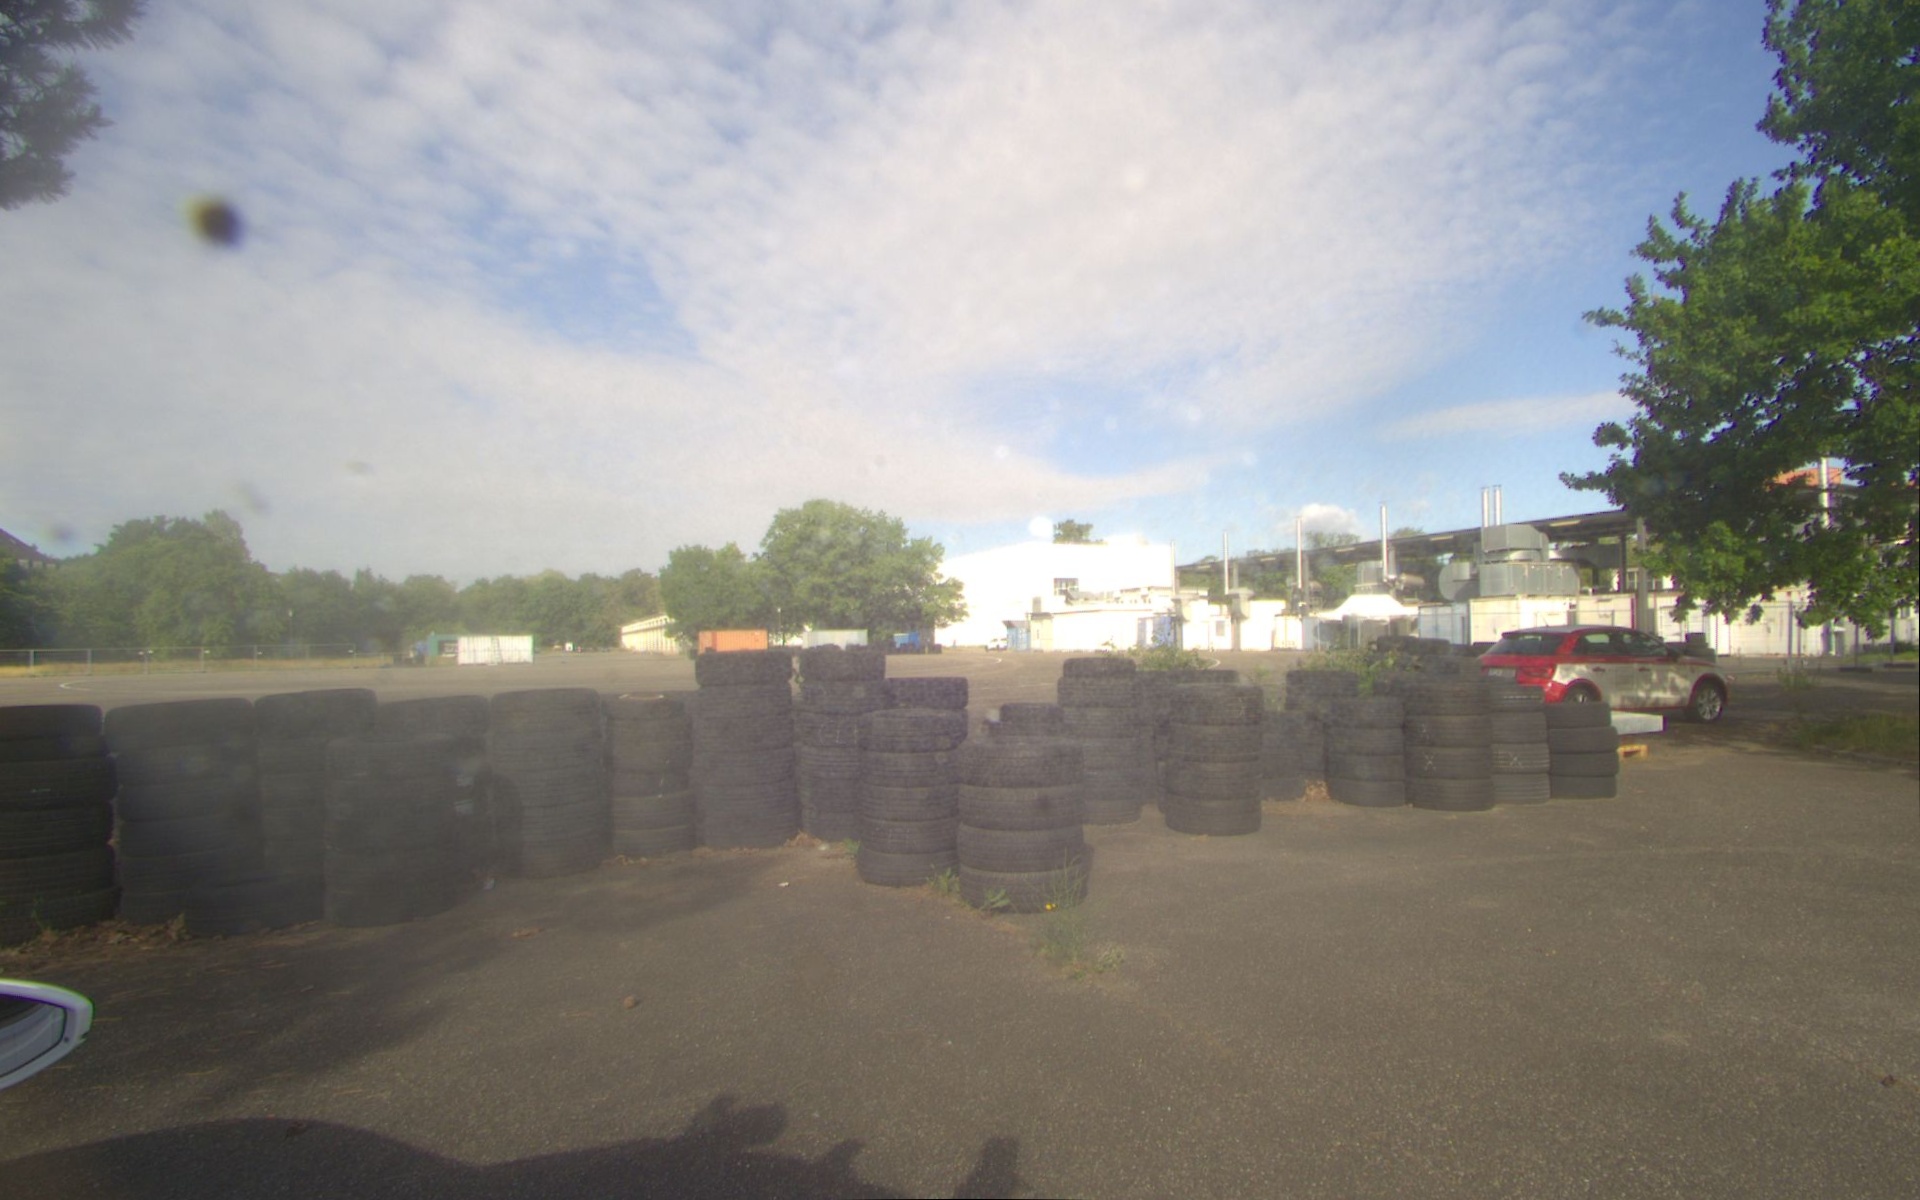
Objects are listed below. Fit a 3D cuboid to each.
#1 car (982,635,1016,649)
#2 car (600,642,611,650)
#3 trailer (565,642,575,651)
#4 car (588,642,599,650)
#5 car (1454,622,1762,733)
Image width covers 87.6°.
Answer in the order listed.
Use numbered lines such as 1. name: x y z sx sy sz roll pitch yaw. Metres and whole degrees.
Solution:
1. car: 4.256 4.632 110.468 1.845 1.584 4.533 0 -2 -25
2. car: -82.019 10.540 231.427 1.969 1.772 3.986 0 -2 -25
3. trailer: -89.529 10.582 229.742 2.032 2.039 3.988 0 -2 -24
4. car: -84.315 10.634 230.425 2.006 1.831 3.986 0 -2 -25
5. car: 9.679 1.102 15.029 3.929 1.482 1.726 0 -2 -17
